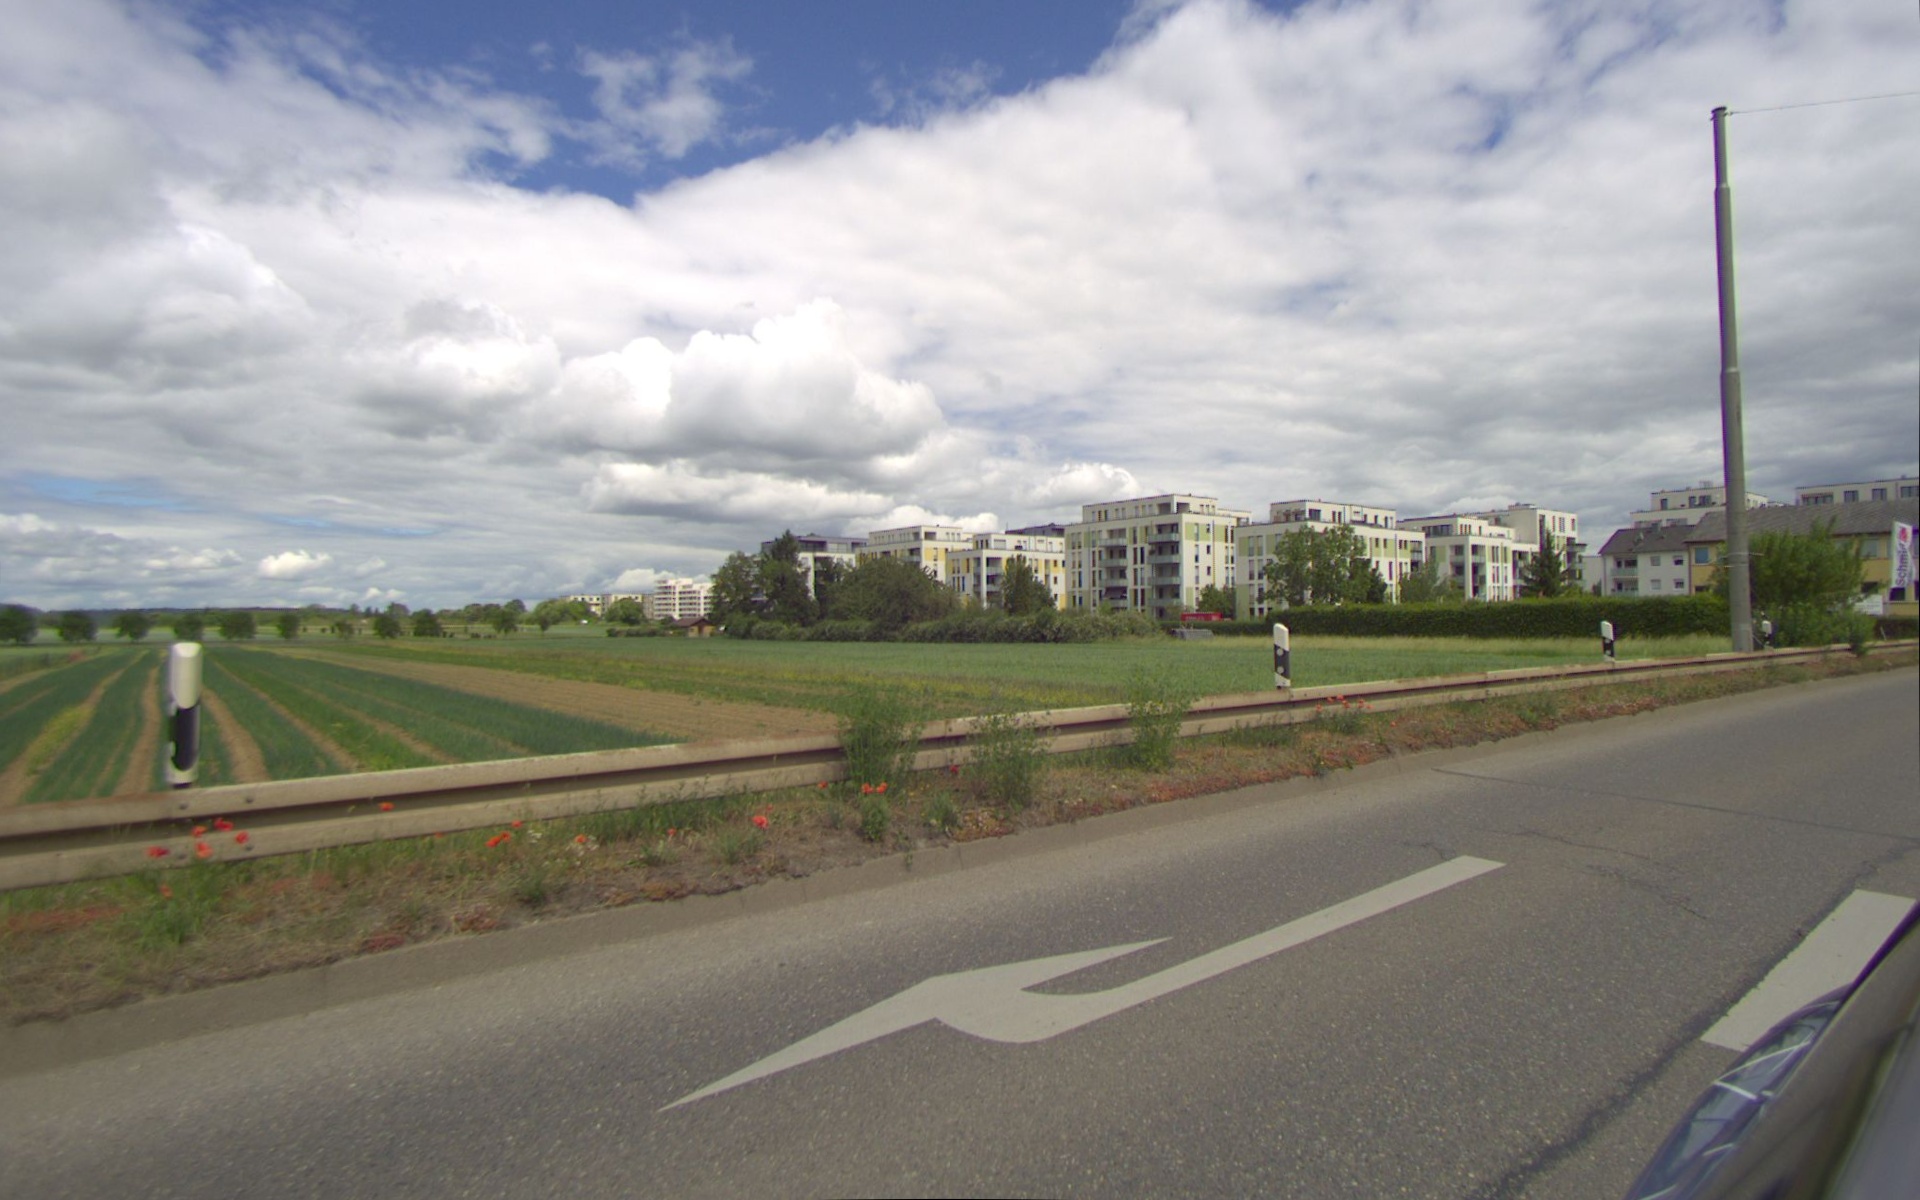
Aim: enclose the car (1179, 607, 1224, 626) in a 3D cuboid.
[{"bbox_3d":[25.976,1.741,108.931,1.966,2.039,4.432,0,0,-41],"label":"car"}]
